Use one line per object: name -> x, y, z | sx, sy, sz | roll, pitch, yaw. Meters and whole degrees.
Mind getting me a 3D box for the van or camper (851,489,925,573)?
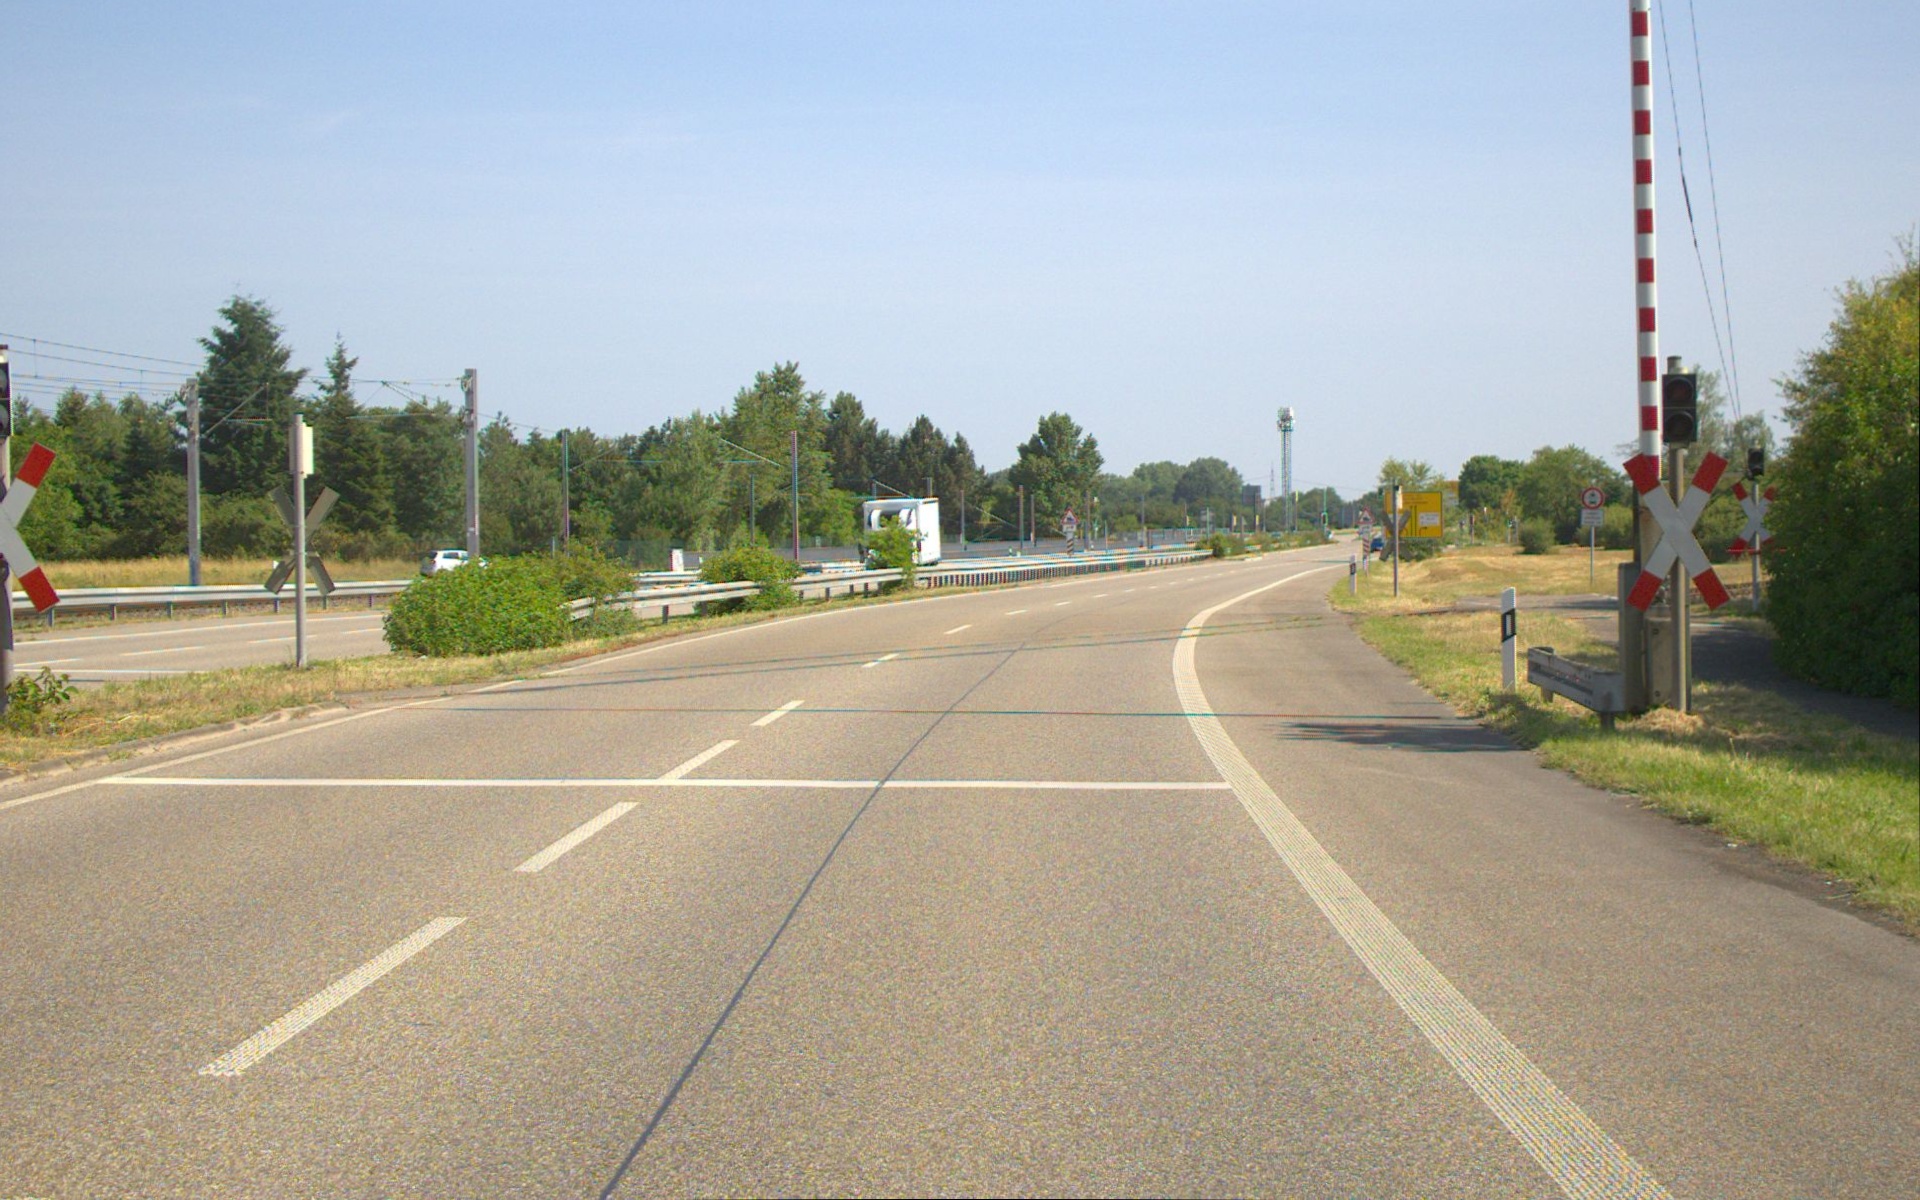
van or camper -> -3.234, -3.149, 157.058 | 2.876, 3.668, 8.643 | 0, 1, 2
